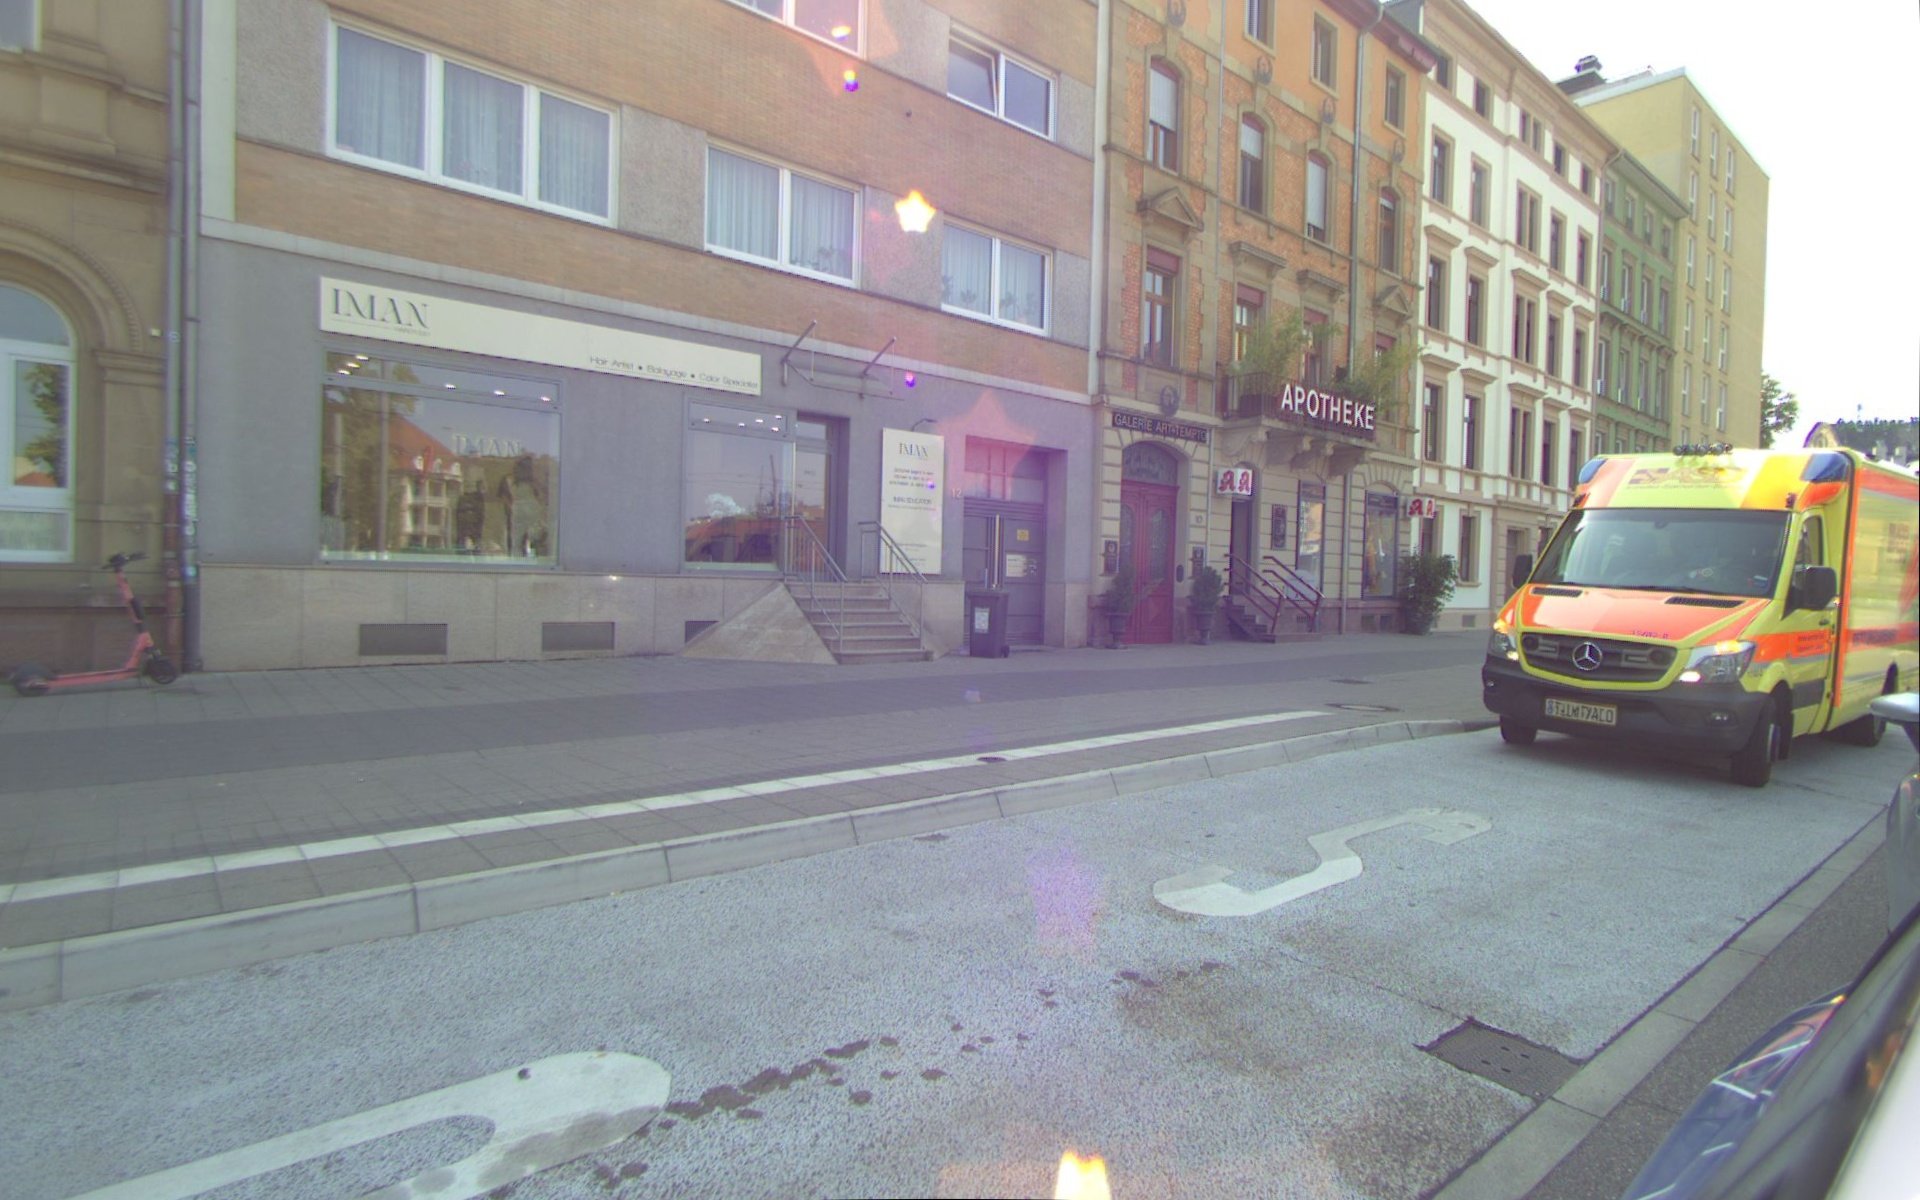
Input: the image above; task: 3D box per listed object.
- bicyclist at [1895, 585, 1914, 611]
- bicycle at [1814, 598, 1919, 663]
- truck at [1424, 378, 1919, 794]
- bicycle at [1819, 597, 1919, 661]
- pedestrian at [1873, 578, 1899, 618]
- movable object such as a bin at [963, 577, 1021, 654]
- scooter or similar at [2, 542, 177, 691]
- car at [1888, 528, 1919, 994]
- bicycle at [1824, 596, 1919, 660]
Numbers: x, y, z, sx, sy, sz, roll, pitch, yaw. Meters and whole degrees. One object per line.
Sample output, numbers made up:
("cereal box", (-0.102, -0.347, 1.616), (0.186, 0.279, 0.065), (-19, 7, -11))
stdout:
("bicyclist", (59.222, -0.144, 63.444), (1.083, 1.606, 0.721), (1, 1, -40))
("bicycle", (17.982, 0.571, 19.851), (0.427, 1.219, 1.841), (1, 0, -39))
("truck", (7.230, -0.171, 9.626), (6.221, 2.803, 2.336), (0, 4, -37))
("bicycle", (18.319, 0.567, 20.117), (0.427, 1.219, 1.841), (1, 0, -39))
("pedestrian", (38.402, -0.085, 41.986), (0.783, 1.648, 0.645), (0, 2, -41))
("movable object such as a bin", (0.499, 0.223, 15.656), (0.640, 1.118, 0.723), (3, 2, 24))
("scooter or similar", (-7.643, 0.129, 8.907), (0.476, 1.227, 1.124), (3, 2, 45))
("car", (5.315, 0.571, 4.160), (3.929, 1.608, 1.728), (0, 1, -40))
("bicycle", (18.666, 0.553, 20.409), (0.427, 1.235, 1.841), (1, 0, -39))
